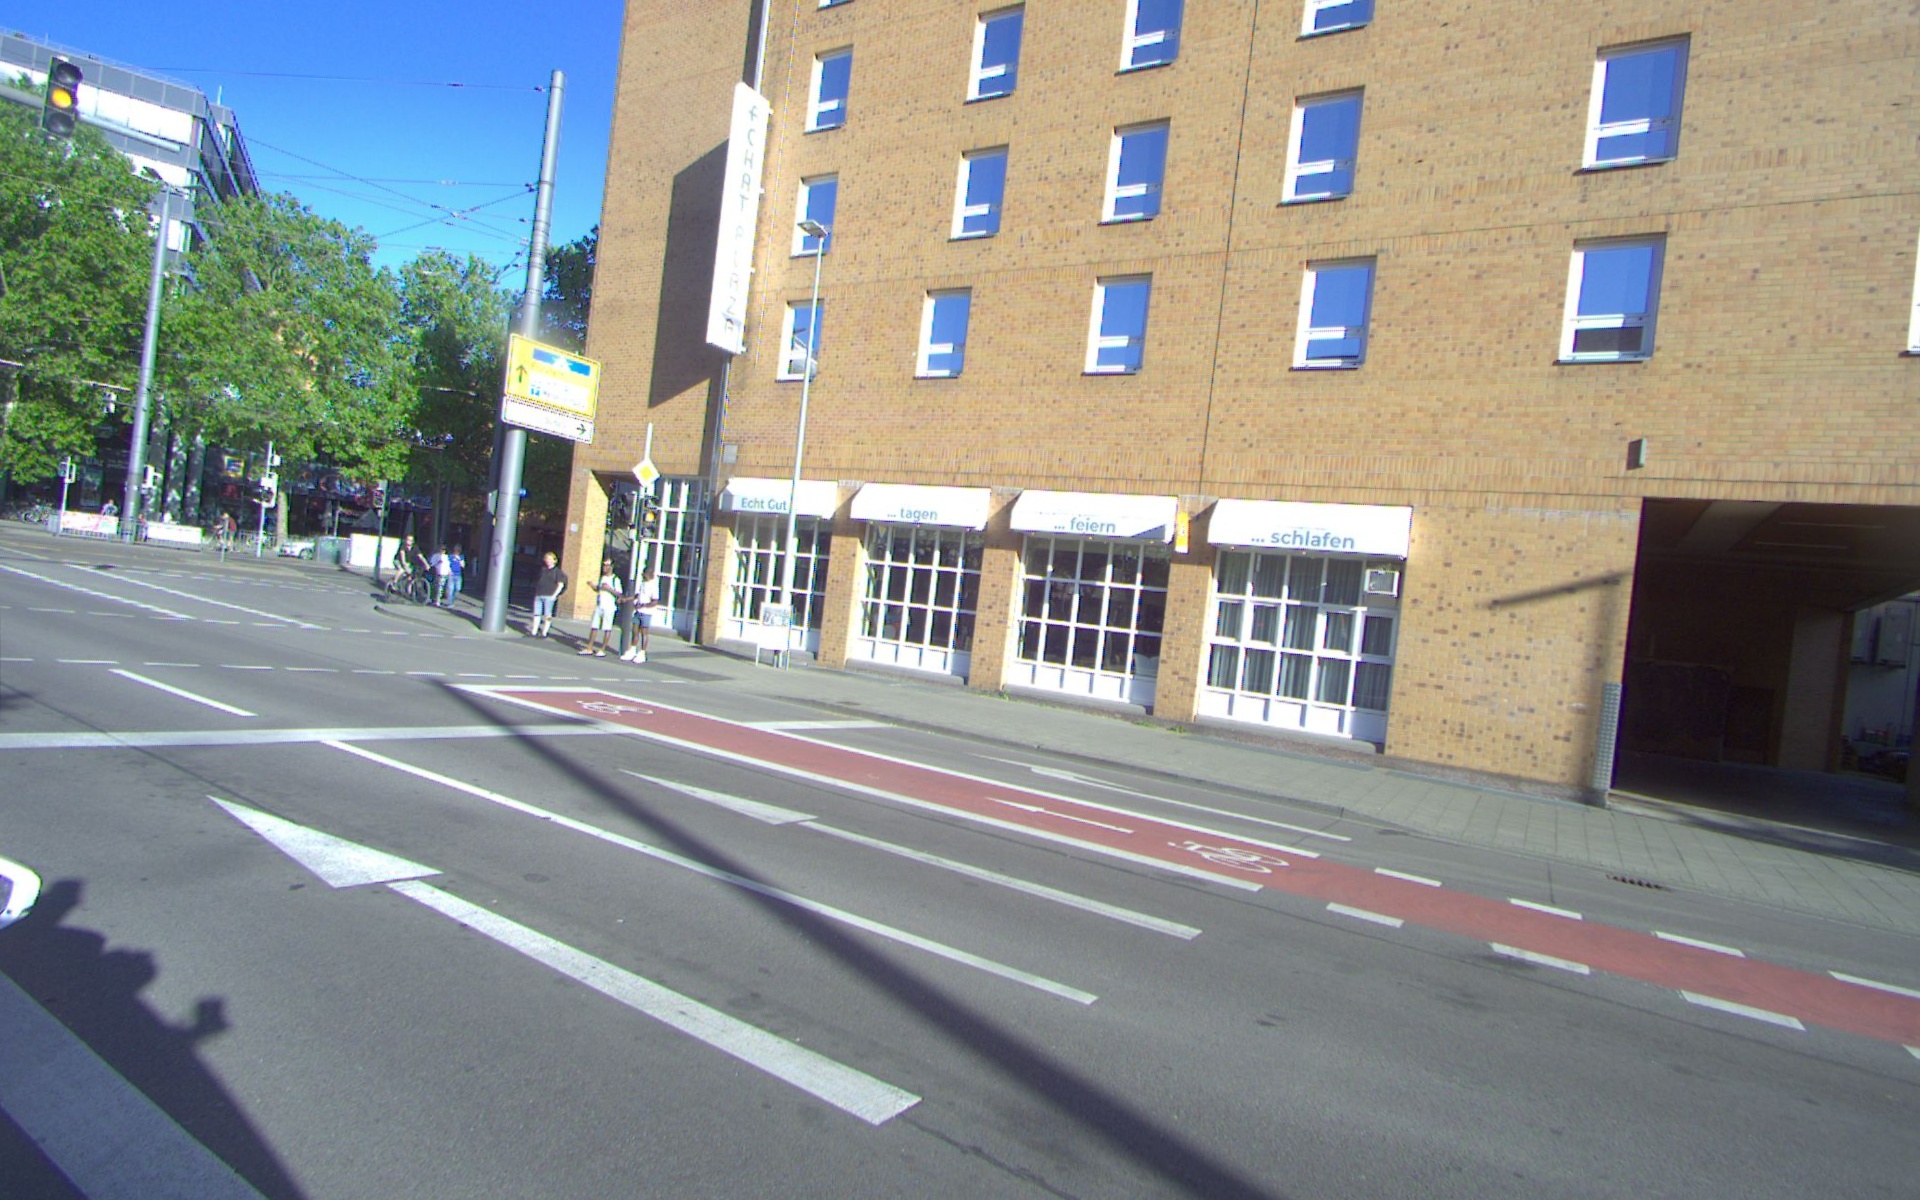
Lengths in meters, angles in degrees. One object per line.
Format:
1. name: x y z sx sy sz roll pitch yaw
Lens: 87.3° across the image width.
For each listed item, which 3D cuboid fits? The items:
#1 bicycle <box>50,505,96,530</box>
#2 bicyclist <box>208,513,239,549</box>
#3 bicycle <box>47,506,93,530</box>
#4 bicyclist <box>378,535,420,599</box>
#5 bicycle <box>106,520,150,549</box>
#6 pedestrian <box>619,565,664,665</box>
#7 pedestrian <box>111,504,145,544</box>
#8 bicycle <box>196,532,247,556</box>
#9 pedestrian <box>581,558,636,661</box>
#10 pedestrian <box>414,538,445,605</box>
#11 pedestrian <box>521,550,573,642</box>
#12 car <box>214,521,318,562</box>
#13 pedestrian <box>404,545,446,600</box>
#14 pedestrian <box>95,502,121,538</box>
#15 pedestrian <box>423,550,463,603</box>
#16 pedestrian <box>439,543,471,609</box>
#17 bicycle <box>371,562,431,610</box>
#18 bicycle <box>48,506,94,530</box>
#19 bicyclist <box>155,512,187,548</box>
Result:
1. bicycle: -45.416 -4.220 51.514 1.700 0.998 0.386 7 0 -45
2. bicyclist: -36.312 -3.410 49.615 0.627 1.635 0.926 7 0 35
3. bicycle: -46.678 -4.286 52.761 1.700 0.998 0.386 7 0 -45
4. bicyclist: -14.348 -0.853 25.729 0.837 1.536 0.577 9 5 37
5. bicycle: -36.887 -2.907 44.595 1.890 1.064 0.791 6 -2 29
6. pedestrian: -5.916 0.275 18.688 0.570 1.797 0.403 7 2 37
7. pedestrian: -36.897 -3.356 44.622 0.824 1.612 0.771 6 -1 31
8. bicycle: -36.406 -2.746 49.598 0.642 0.921 1.854 7 -1 36
9. pedestrian: -6.636 0.169 19.024 0.719 1.857 0.497 6 2 -3
10. pedestrian: -14.417 -0.769 27.340 0.557 1.723 0.654 8 -1 -28
11. pedestrian: -8.556 -0.077 20.857 0.683 1.789 0.573 8 0 -9
12. car: -36.430 -3.055 52.891 1.969 1.503 3.990 6 -2 36
13. pedestrian: -16.446 -0.833 30.942 0.729 1.557 0.677 7 -1 24
14. pedestrian: -48.324 -4.548 57.063 0.845 1.873 0.799 10 -2 -44
15. pedestrian: -16.324 -0.744 31.790 0.729 1.557 0.652 7 -1 24
16. pedestrian: -13.919 -0.656 27.740 0.596 1.747 0.599 8 -1 -26
17. bicycle: -14.270 -0.367 25.677 1.852 1.065 0.599 7 5 36
18. bicycle: -46.035 -4.248 52.096 1.700 0.998 0.386 7 0 -45
19. bicyclist: -47.721 -4.224 60.873 0.823 1.955 1.226 7 0 39
